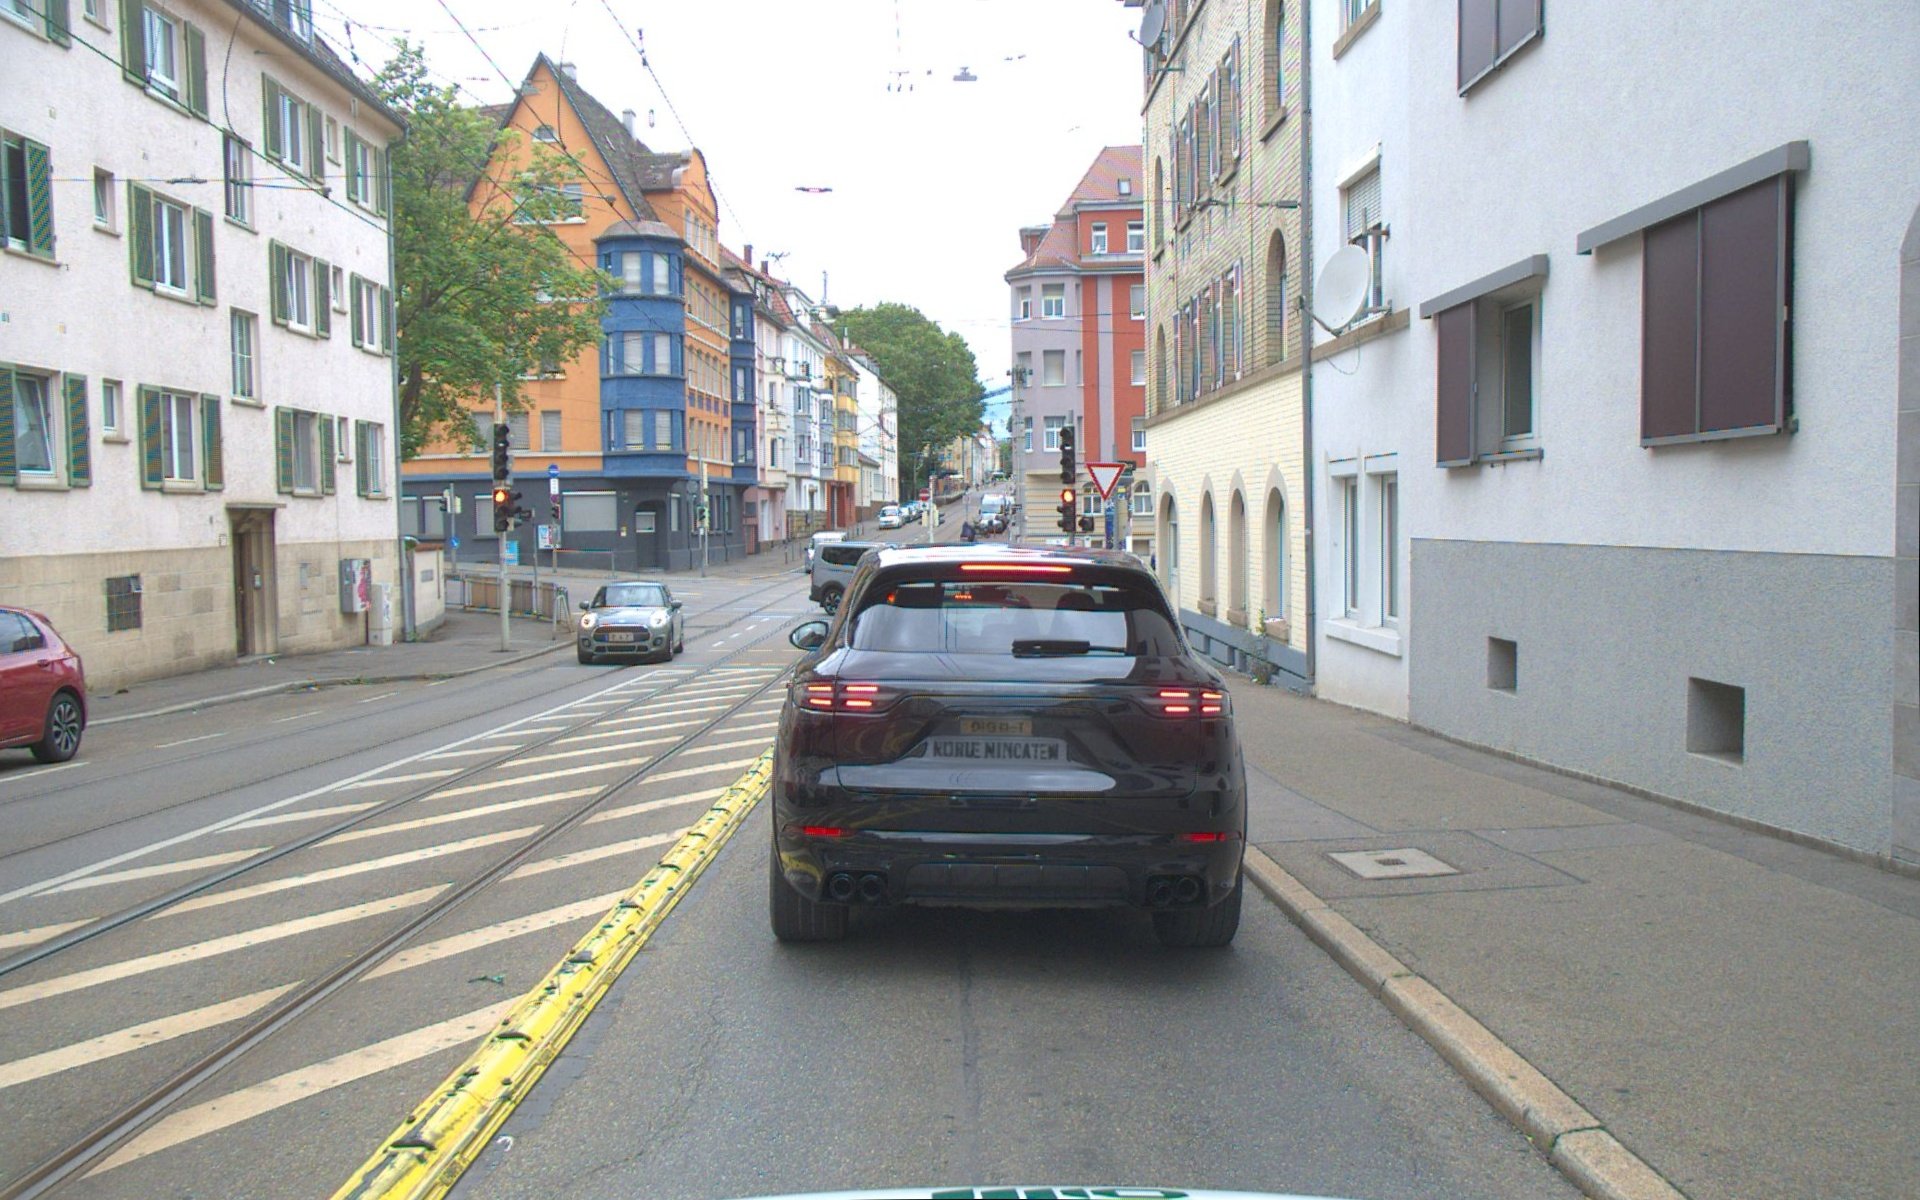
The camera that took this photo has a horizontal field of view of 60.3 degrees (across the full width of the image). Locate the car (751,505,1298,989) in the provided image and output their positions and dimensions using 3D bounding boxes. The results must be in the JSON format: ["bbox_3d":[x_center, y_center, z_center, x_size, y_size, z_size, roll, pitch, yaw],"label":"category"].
[{"bbox_3d":[0.194,0.508,7.967,1.953,1.705,3.999,-1,0,-1],"label":"car"}]

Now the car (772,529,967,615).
[{"bbox_3d":[-2.553,-0.727,46.364,5.186,2.280,1.998,-1,-1,27],"label":"car"}]

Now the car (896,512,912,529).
[{"bbox_3d":[-5.096,-7.296,151.776,1.366,1.476,3.358,-1,0,0],"label":"car"}]

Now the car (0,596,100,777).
[{"bbox_3d":[-8.833,0.746,13.524,1.588,1.516,4.045,-2,0,-2],"label":"car"}]

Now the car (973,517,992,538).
[{"bbox_3d":[1.691,-5.475,125.790,1.366,1.476,3.358,-1,0,0],"label":"car"}]

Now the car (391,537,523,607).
[{"bbox_3d":[-16.282,-0.890,53.491,4.155,2.155,1.993,0,1,36],"label":"car"}]

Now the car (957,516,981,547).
[{"bbox_3d":[0.538,-4.170,100.752,1.366,1.752,3.358,-1,0,0],"label":"car"}]

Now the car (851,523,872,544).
[{"bbox_3d":[-7.389,-5.002,124.446,1.366,1.476,3.358,-1,0,0],"label":"car"}]

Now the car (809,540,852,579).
[{"bbox_3d":[-6.196,-1.930,79.634,1.715,1.790,4.253,-1,0,0],"label":"car"}]

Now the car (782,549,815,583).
[{"bbox_3d":[-8.499,-1.790,87.255,1.366,1.752,3.358,-1,0,0],"label":"car"}]

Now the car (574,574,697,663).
[{"bbox_3d":[-5.995,0.307,30.891,1.600,1.534,3.540,-1,0,-1],"label":"car"}]

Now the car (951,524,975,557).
[{"bbox_3d":[0.161,-3.381,93.943,1.366,1.752,3.358,-1,0,0],"label":"car"}]
